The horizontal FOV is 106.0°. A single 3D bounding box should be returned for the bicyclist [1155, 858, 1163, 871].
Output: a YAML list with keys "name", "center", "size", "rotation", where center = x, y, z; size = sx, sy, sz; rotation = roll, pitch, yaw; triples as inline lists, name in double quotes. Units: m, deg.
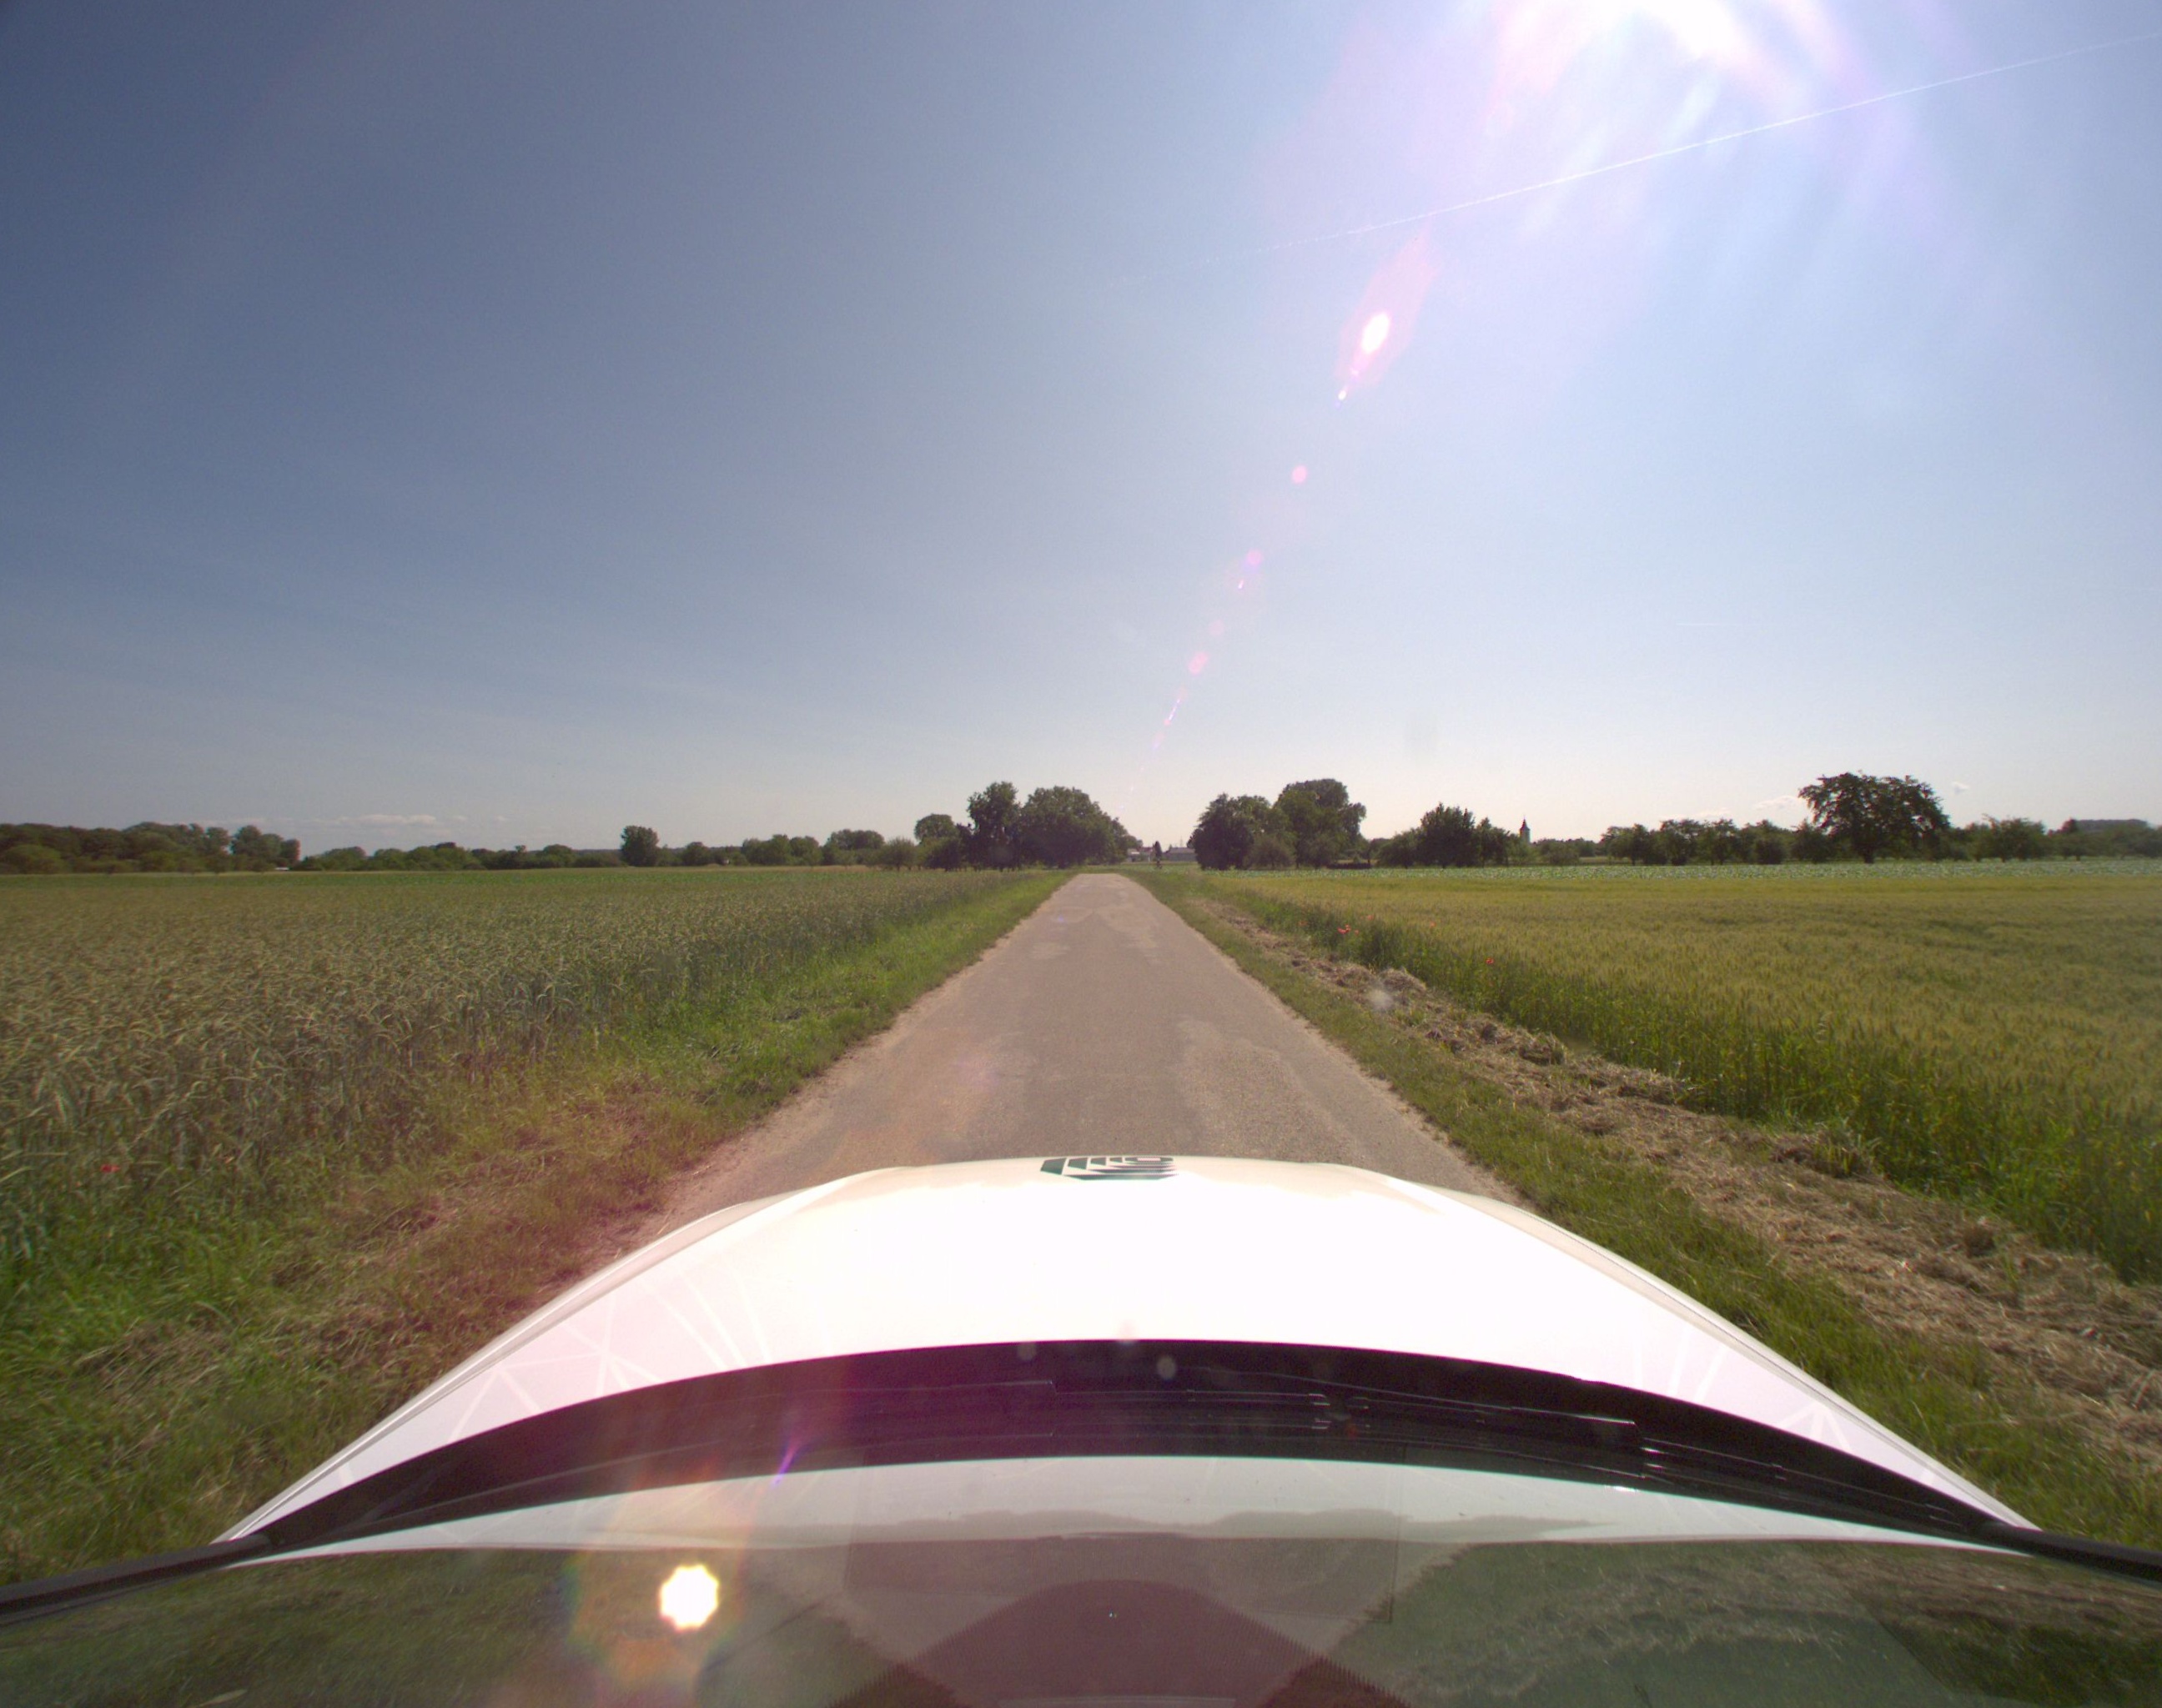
- name: "bicyclist"
  center: [10.561, 1.444, 110.365]
  size: [0.744, 1.791, 0.720]
  rotation: [-3, -1, 20]

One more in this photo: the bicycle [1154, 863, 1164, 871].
- name: "bicycle"
  center: [10.569, 1.775, 110.355]
  size: [0.744, 1.127, 1.918]
  rotation: [-3, -1, 20]
